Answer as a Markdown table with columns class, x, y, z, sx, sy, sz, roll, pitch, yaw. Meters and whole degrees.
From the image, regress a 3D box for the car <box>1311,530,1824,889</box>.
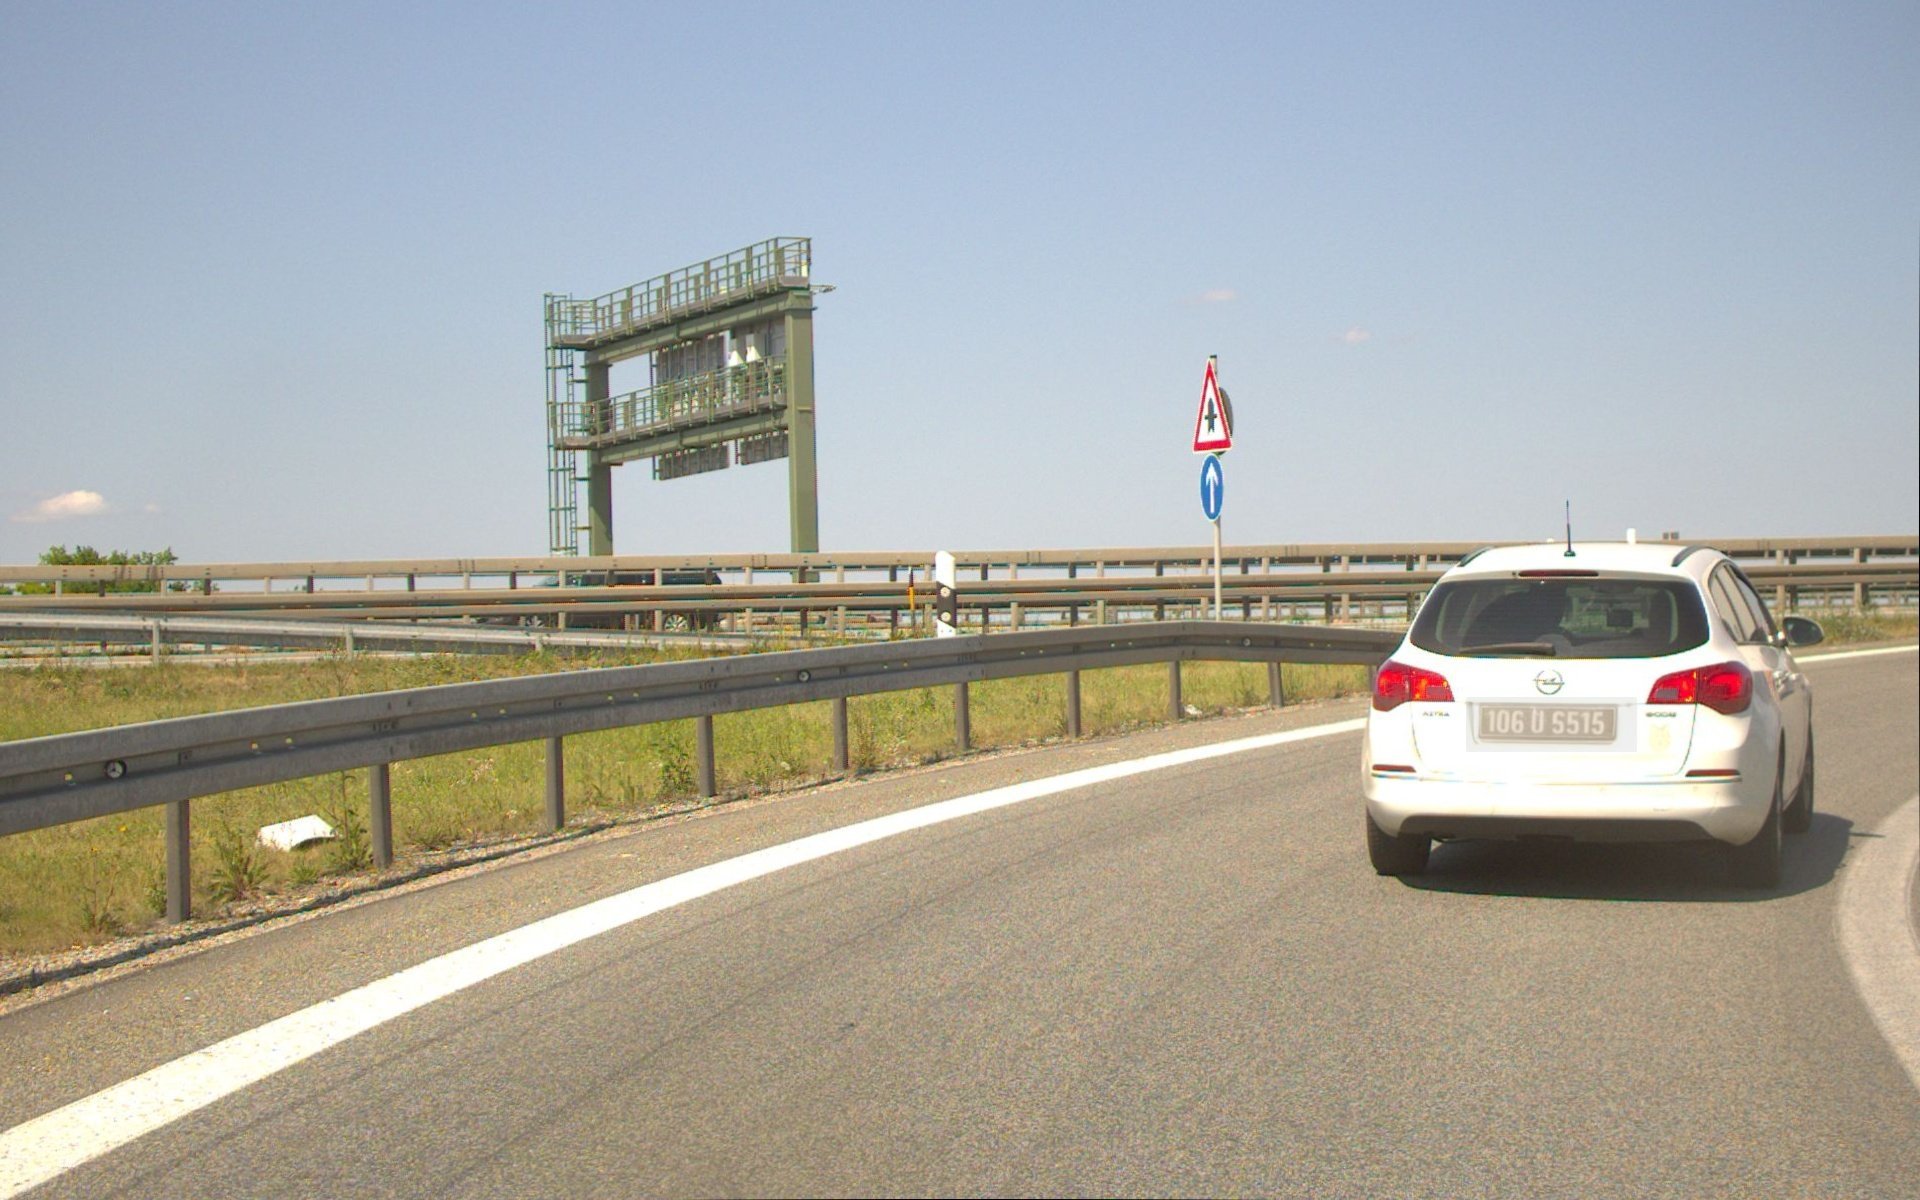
| class | x | y | z | sx | sy | sz | roll | pitch | yaw |
| --- | --- | --- | --- | --- | --- | --- | --- | --- | --- |
| car | 2.991 | 0.423 | 16.162 | 1.856 | 1.438 | 4.368 | 0 | 0 | 17 |
